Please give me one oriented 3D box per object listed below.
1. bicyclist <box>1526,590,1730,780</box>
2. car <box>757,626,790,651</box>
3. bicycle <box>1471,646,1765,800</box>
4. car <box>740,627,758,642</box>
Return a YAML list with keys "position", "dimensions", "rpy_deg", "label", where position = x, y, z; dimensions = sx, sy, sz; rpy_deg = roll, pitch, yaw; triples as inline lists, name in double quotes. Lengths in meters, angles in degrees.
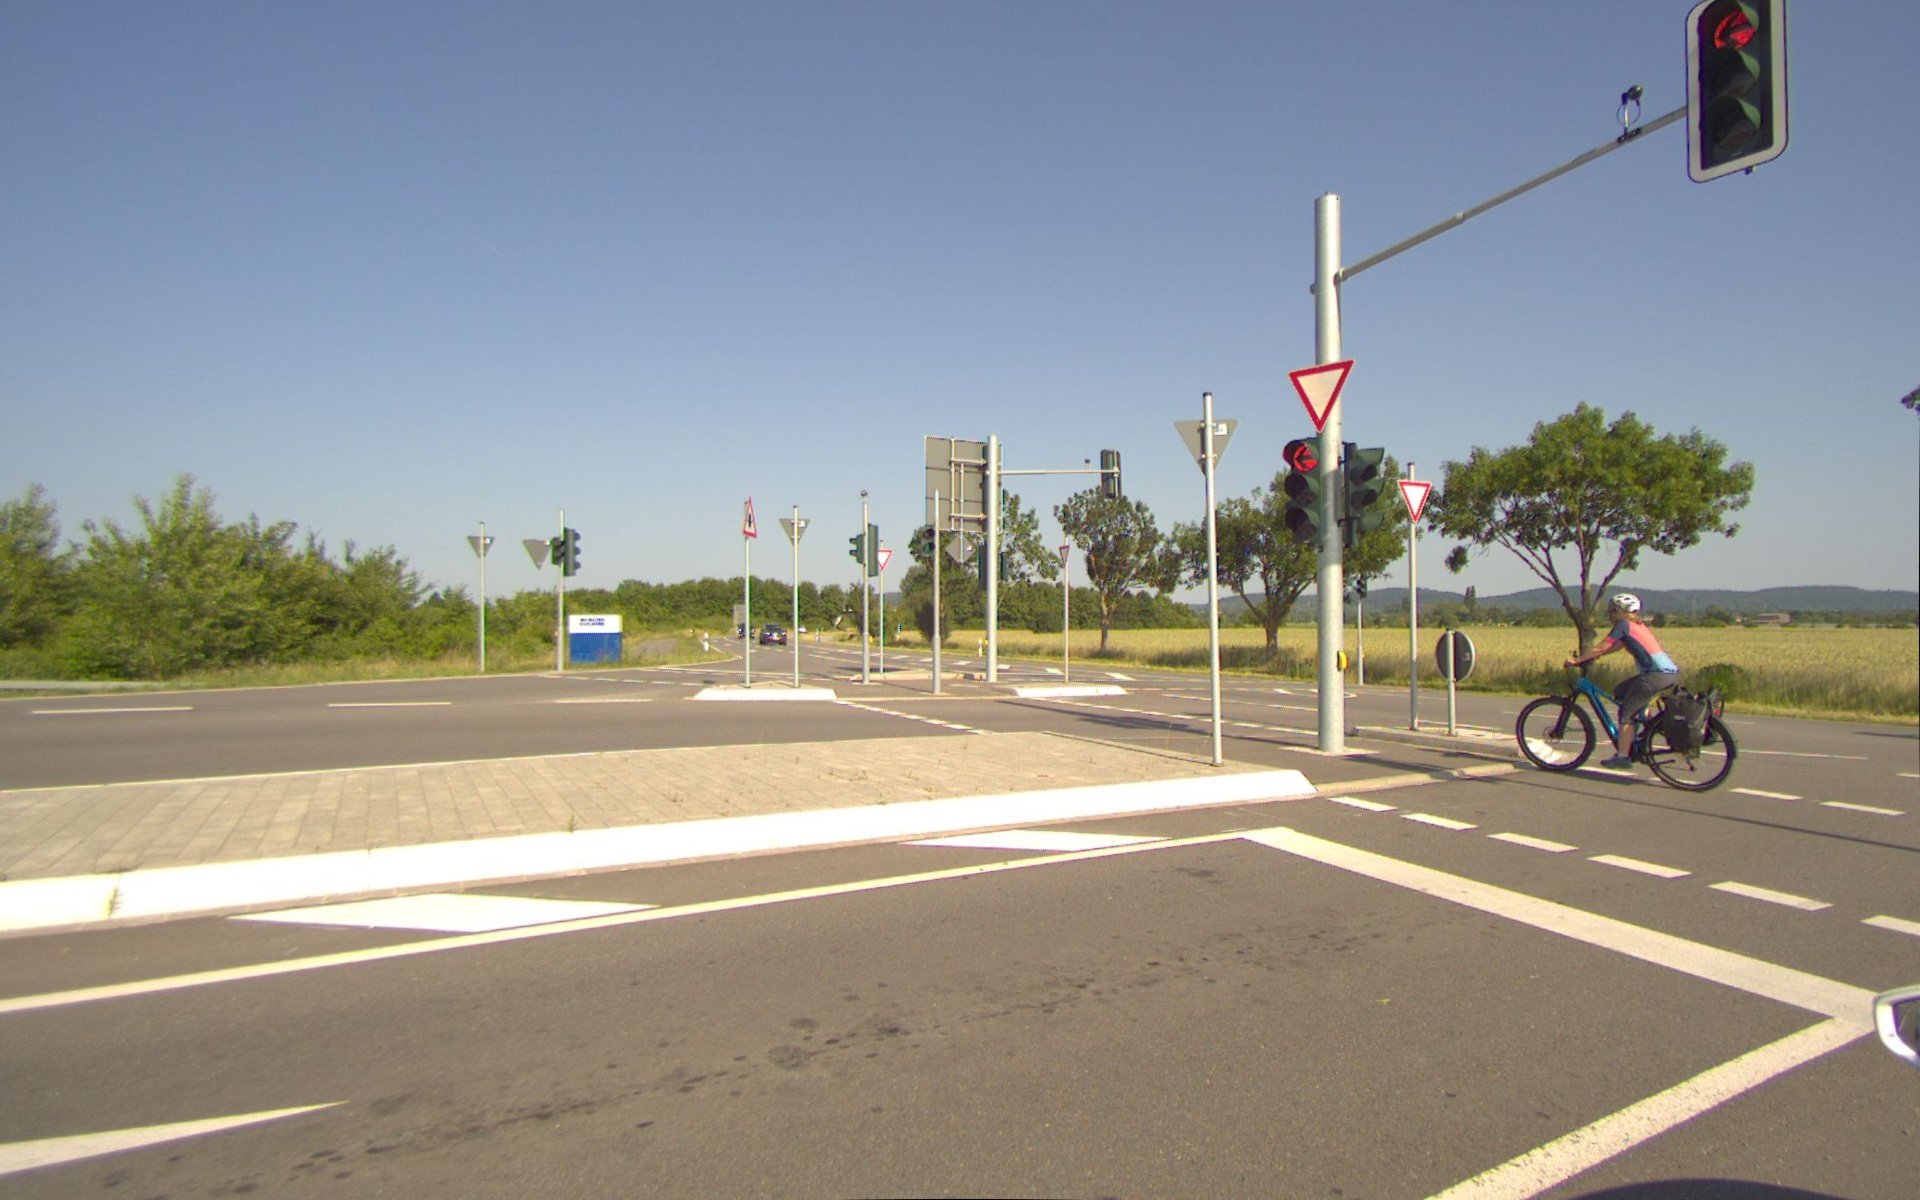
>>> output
- position: [6.275, 0.733, 9.467]
  dimensions: [1.153, 1.623, 1.271]
  rpy_deg: [0, 0, -34]
  label: "bicyclist"
- position: [-14.836, 3.029, 79.800]
  dimensions: [1.969, 1.746, 4.600]
  rpy_deg: [2, 0, -18]
  label: "car"
- position: [6.119, 1.077, 9.480]
  dimensions: [0.881, 1.202, 2.142]
  rpy_deg: [2, -1, -34]
  label: "bicycle"
- position: [-24.209, 3.934, 115.106]
  dimensions: [1.740, 1.578, 3.843]
  rpy_deg: [2, -3, -15]
  label: "car"
